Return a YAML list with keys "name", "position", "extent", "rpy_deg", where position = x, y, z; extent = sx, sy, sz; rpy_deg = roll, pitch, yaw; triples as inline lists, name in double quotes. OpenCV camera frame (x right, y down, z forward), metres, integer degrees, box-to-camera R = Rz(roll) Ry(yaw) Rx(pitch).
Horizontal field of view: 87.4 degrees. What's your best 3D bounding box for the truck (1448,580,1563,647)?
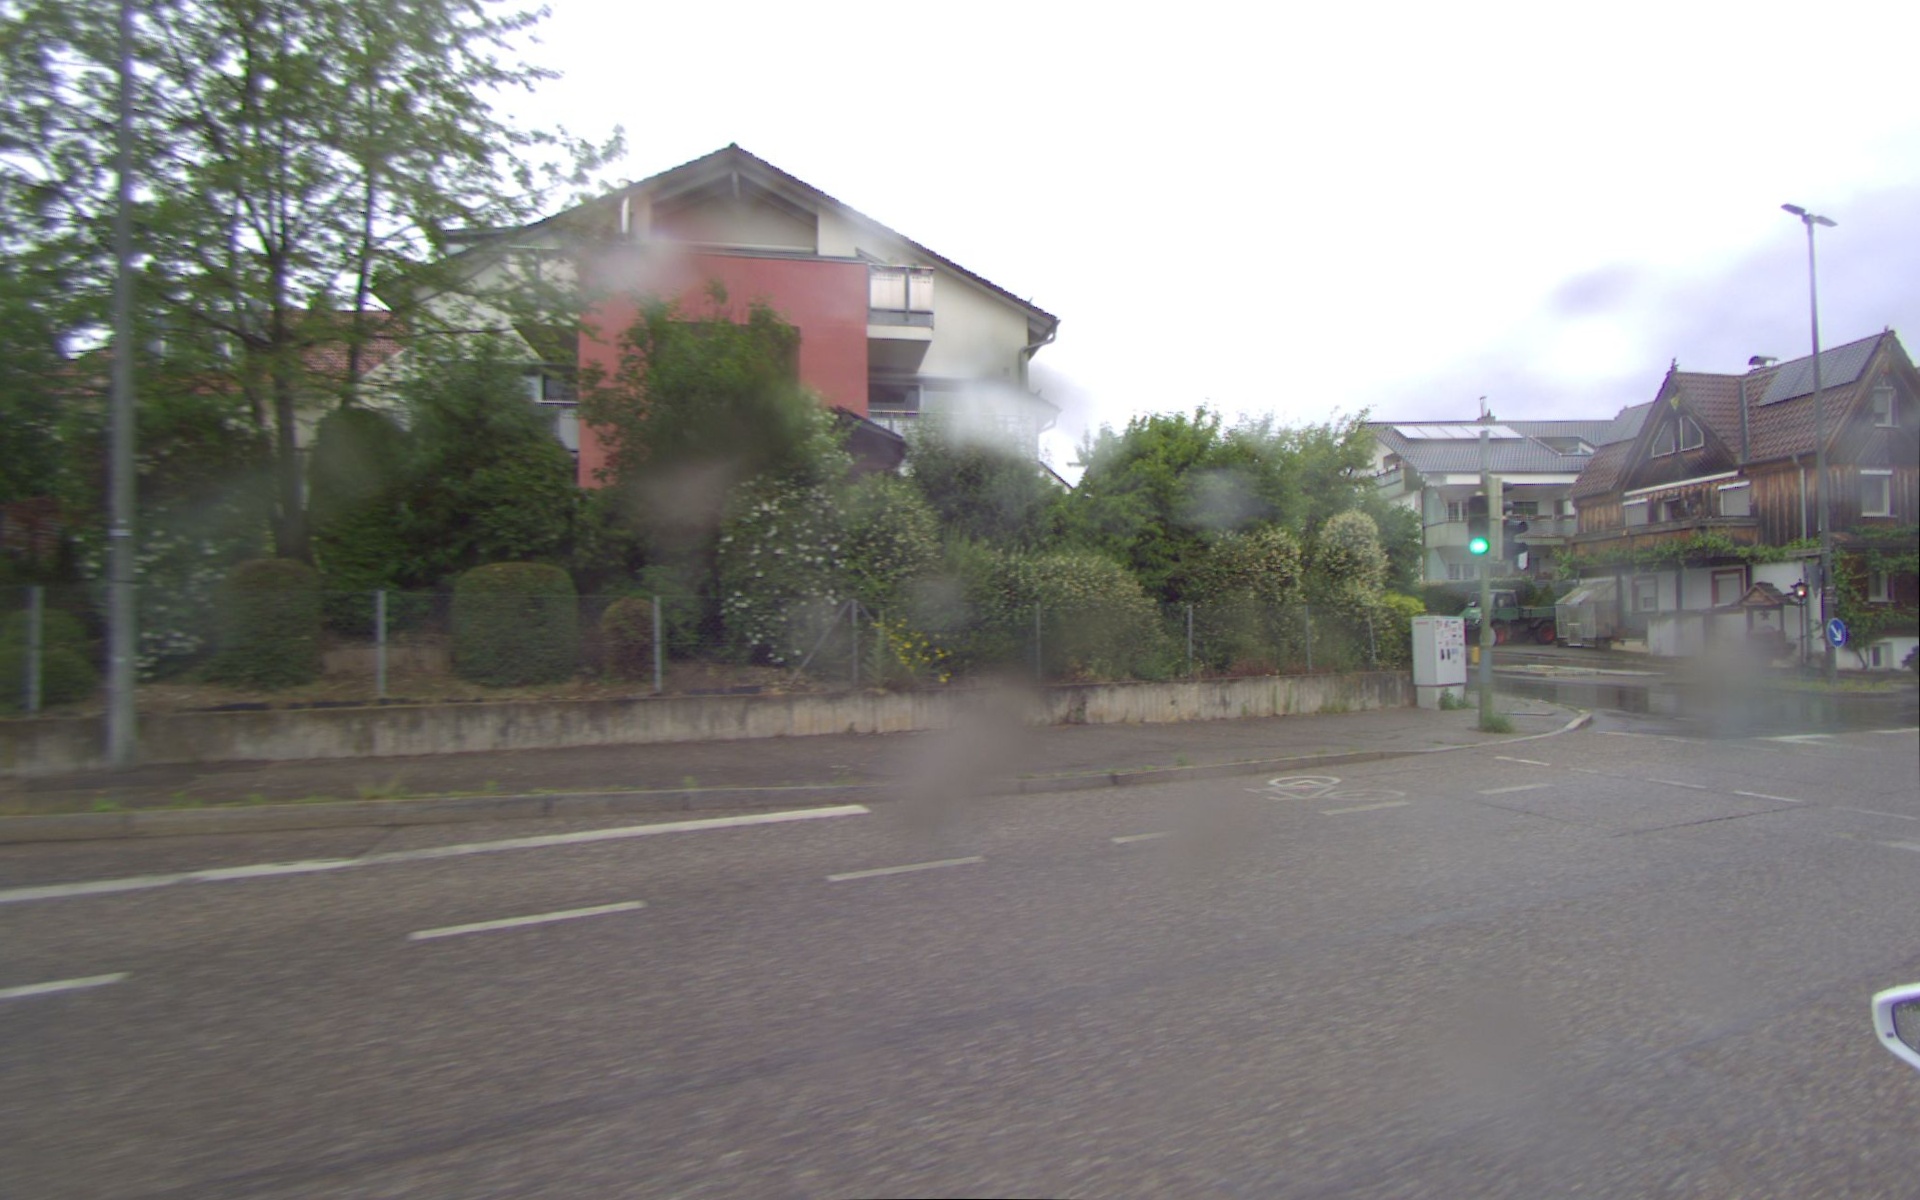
- name: "truck"
  position: [22.003, 0.575, 40.546]
  extent: [3.777, 2.647, 1.778]
  rpy_deg: [0, -2, -11]
